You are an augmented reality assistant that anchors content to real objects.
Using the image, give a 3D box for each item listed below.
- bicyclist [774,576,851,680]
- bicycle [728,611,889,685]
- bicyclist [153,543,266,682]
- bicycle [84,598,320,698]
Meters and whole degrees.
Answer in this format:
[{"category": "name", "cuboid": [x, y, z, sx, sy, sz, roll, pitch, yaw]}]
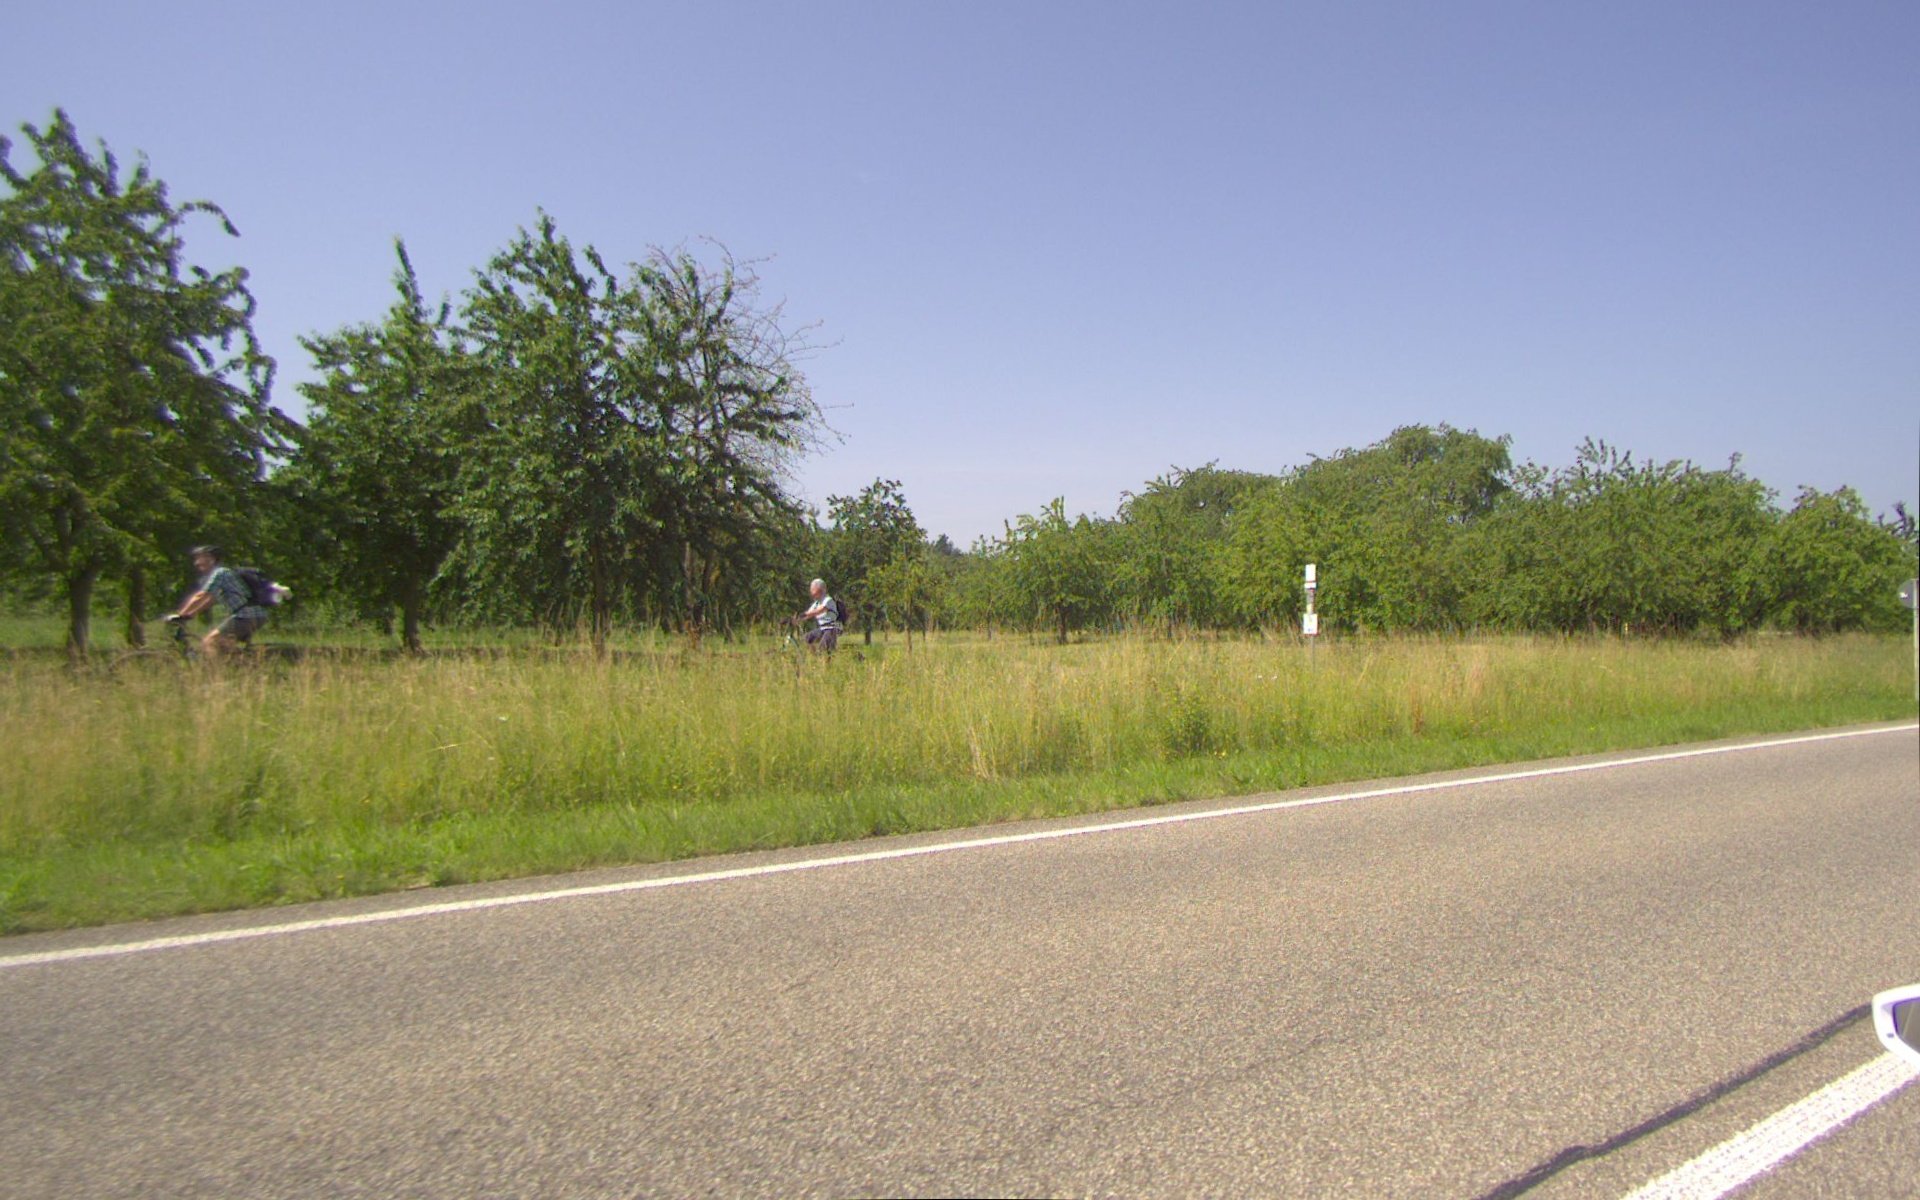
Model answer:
[{"category": "bicyclist", "cuboid": [-2.158, 0.410, 14.674, 0.853, 1.474, 0.737, 2, -1, -30]}, {"category": "bicycle", "cuboid": [-2.191, 0.709, 14.658, 2.199, 1.002, 0.737, 3, -1, -30]}, {"category": "bicyclist", "cuboid": [-8.098, 0.143, 10.875, 0.853, 1.433, 0.638, 2, -1, -30]}, {"category": "bicycle", "cuboid": [-8.119, 0.520, 10.874, 1.932, 1.002, 0.646, 3, -1, -30]}]
